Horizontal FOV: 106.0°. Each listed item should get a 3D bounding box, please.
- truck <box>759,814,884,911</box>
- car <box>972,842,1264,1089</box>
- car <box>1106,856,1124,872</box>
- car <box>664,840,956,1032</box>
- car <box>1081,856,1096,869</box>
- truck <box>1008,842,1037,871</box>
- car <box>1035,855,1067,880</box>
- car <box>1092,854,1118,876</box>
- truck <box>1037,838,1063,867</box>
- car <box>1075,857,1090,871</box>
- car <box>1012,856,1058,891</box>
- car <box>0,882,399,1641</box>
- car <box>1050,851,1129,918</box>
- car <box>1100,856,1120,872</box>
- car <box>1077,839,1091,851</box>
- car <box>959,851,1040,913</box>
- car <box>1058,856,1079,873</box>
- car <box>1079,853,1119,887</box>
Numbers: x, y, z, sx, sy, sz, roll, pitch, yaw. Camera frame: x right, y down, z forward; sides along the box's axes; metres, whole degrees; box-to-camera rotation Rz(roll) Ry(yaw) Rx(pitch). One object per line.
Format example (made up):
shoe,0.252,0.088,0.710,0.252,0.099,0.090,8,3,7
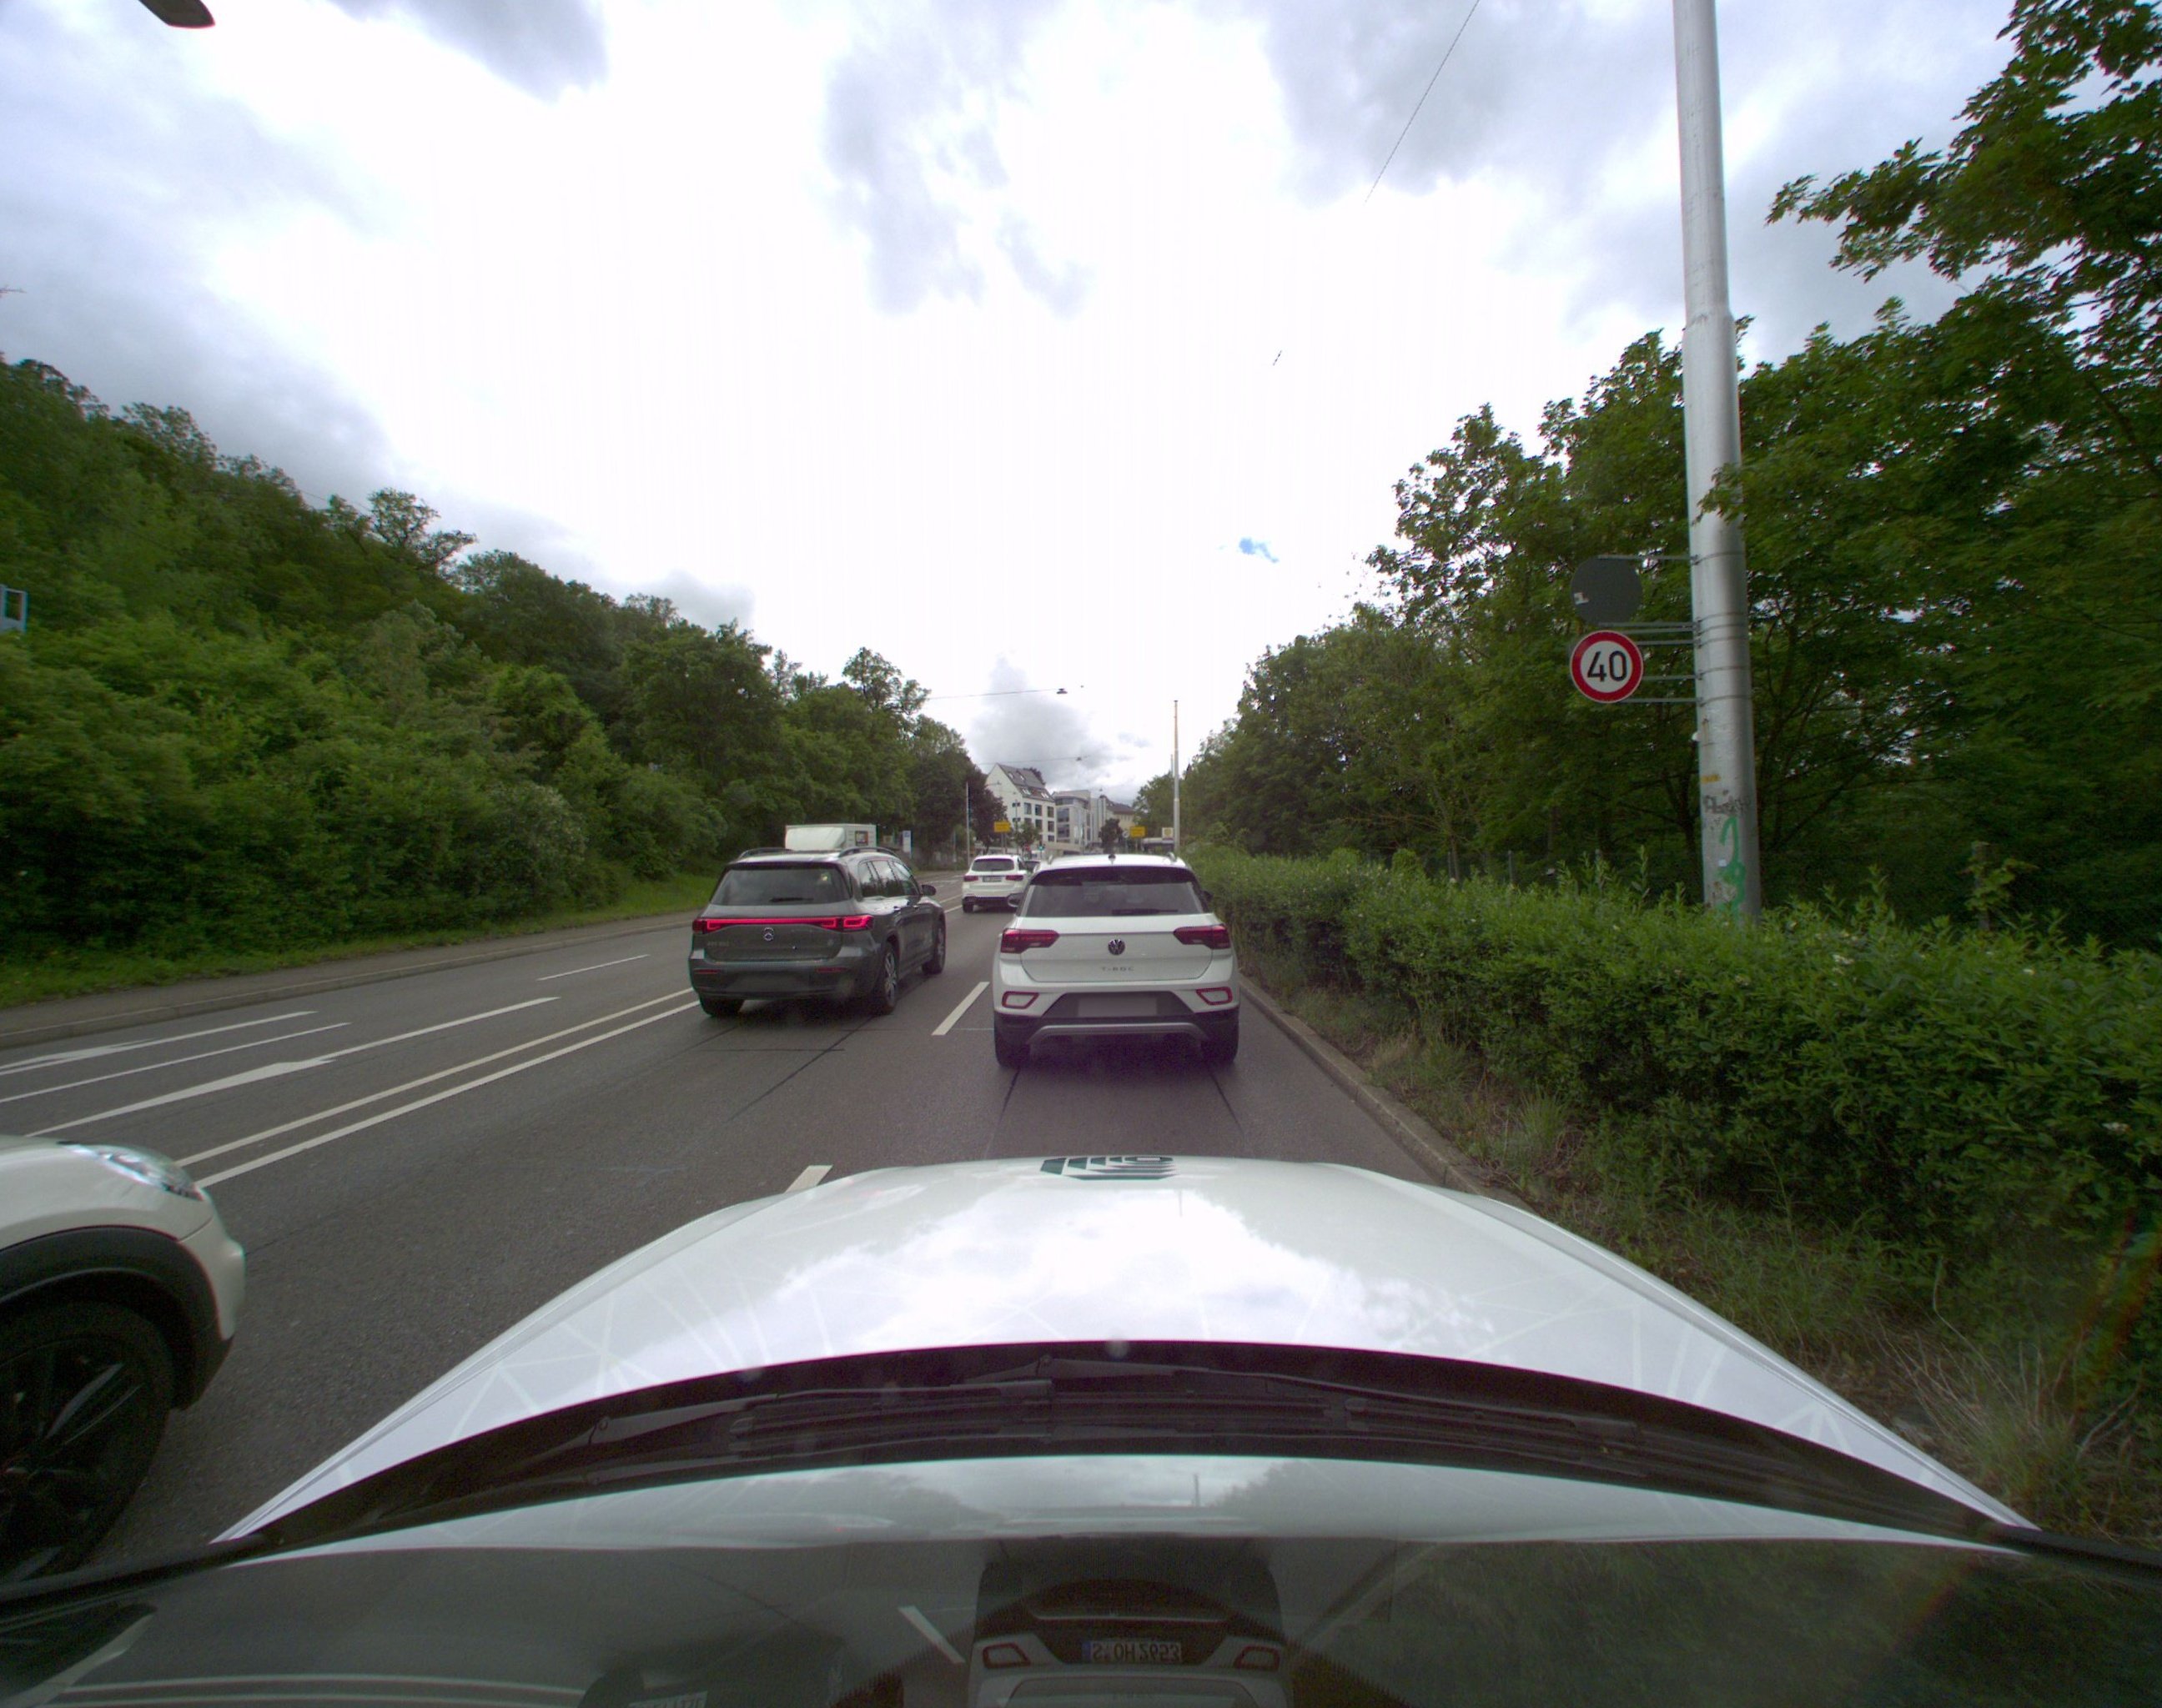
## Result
truck,-9.343,0.306,30.136,2.286,3.051,6.977,-2,-1,0
car,0.271,0.718,7.203,1.823,1.526,4.001,-2,0,1
car,4.362,1.248,104.954,1.987,1.969,3.999,-2,0,0
car,-2.722,0.730,9.353,1.843,1.651,4.357,-1,0,0
car,0.947,1.106,102.274,1.823,1.526,4.001,-2,0,1
truck,-5.767,0.213,81.085,2.354,2.706,4.478,-3,0,1
car,-1.943,0.870,53.630,1.823,1.526,4.001,-2,0,1
car,1.752,0.782,59.939,1.823,1.526,4.001,-2,0,1
truck,-3.191,-0.147,84.991,2.354,2.782,4.478,-3,0,1
car,0.238,1.318,109.258,1.809,1.656,3.929,-3,0,1
car,-2.120,0.880,38.572,1.823,1.497,4.001,-2,0,1
car,-2.929,0.810,0.597,1.679,1.424,3.732,-1,0,0
car,0.242,0.727,21.313,1.823,1.526,4.001,-2,0,1
car,2.920,0.973,82.752,1.823,1.526,4.001,-2,0,1
car,0.412,-1.250,116.442,1.823,1.526,4.001,-2,0,1
car,-2.324,0.764,24.271,1.911,1.669,4.001,-1,0,1
car,-1.181,1.018,78.490,1.823,1.526,4.001,-2,0,1
car,0.896,0.777,40.970,1.823,1.526,4.001,-2,0,1
